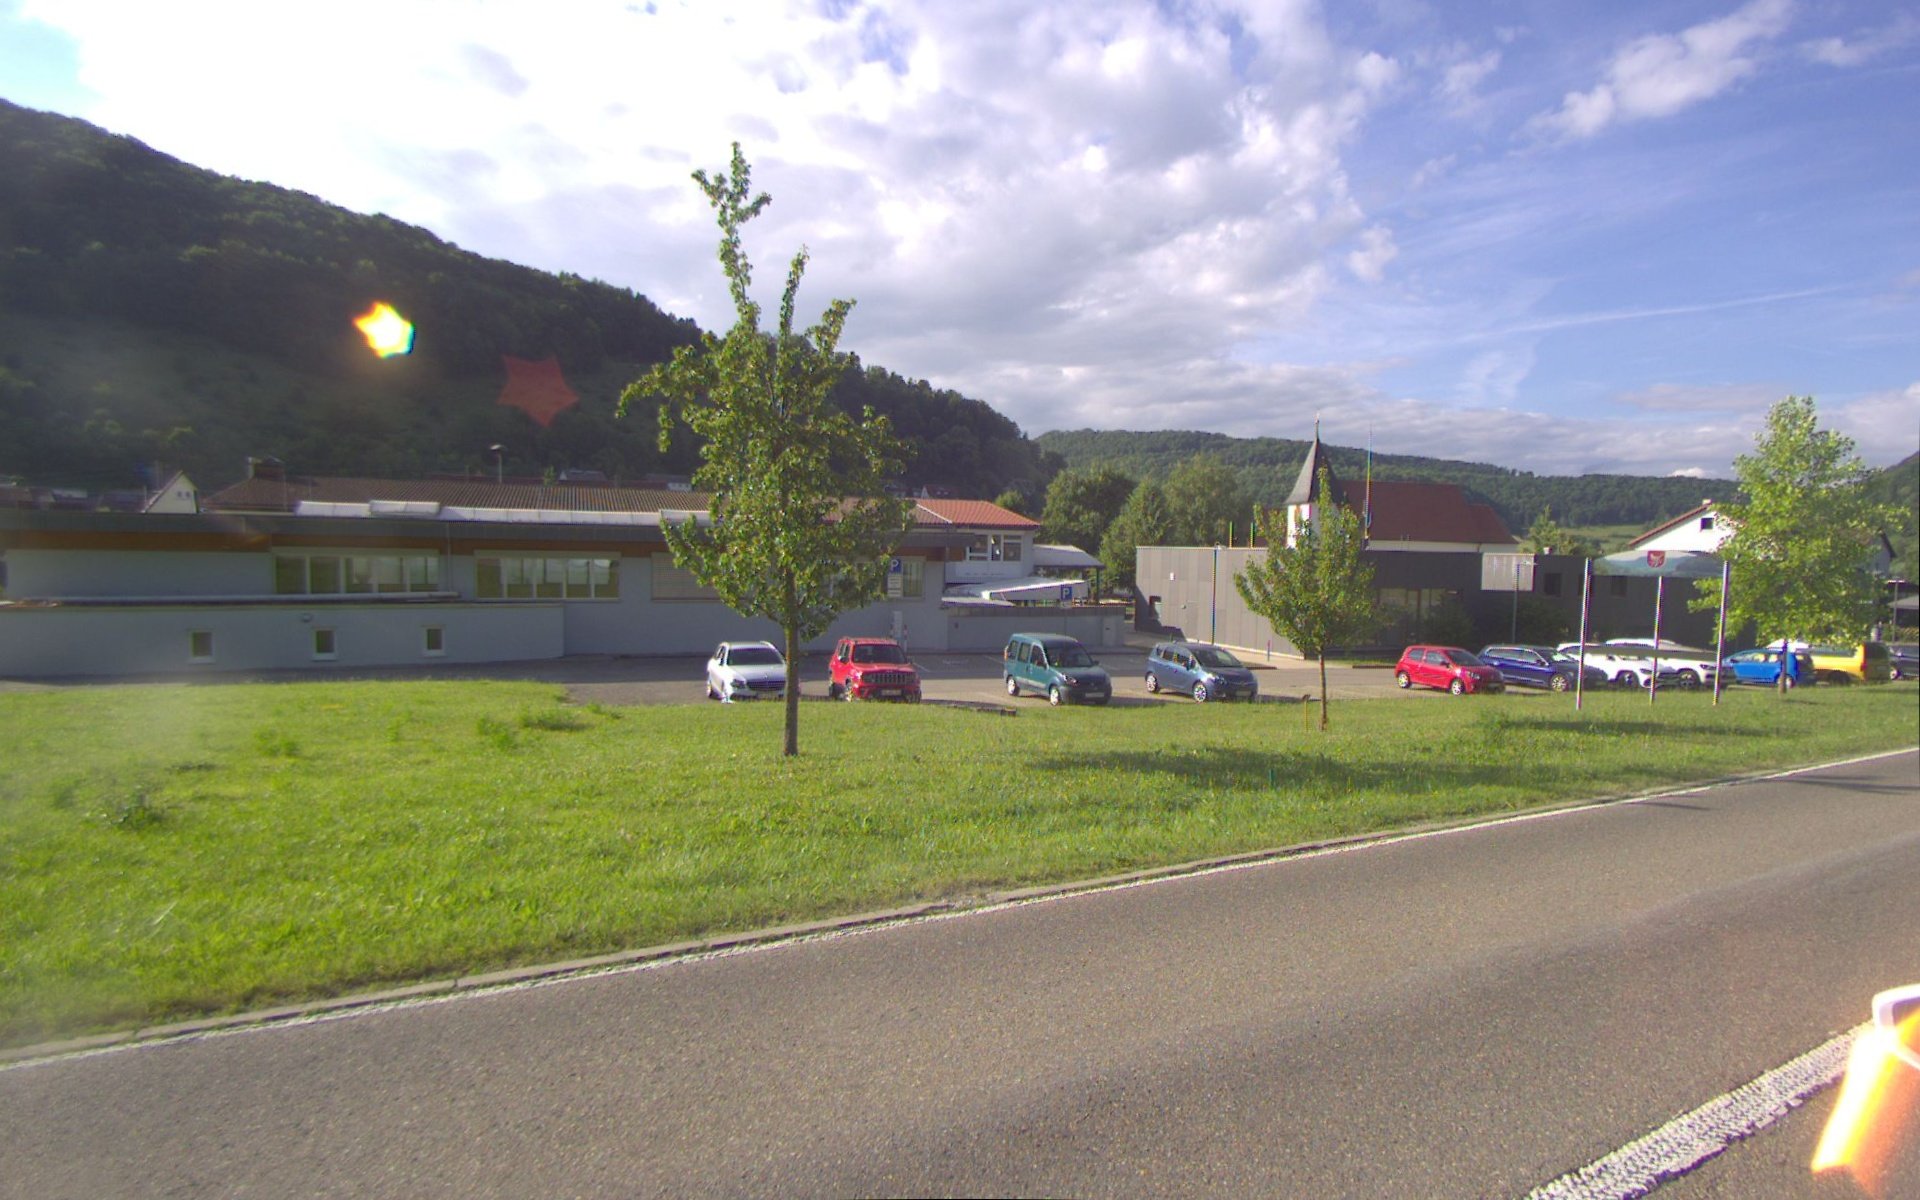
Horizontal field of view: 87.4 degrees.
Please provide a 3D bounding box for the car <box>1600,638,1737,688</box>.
[{"bbox_3d":[26.658,2.334,37.955,1.572,1.695,4.072,1,-1,-20],"label":"car"}]

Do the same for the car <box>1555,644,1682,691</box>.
[{"bbox_3d":[23.810,2.414,36.448,1.572,1.513,3.661,1,-1,-20],"label":"car"}]

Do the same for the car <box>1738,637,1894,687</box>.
[{"bbox_3d":[34.733,2.481,40.930,1.813,1.839,4.547,1,-1,-20],"label":"car"}]

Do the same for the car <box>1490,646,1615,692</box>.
[{"bbox_3d":[20.782,2.402,35.385,1.572,1.423,3.620,2,-1,-20],"label":"car"}]

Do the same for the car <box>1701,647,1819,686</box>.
[{"bbox_3d":[32.102,2.634,40.385,1.639,1.392,3.356,1,-2,-27],"label":"car"}]

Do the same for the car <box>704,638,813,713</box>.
[{"bbox_3d":[-5.252,1.835,25.653,1.970,1.610,4.633,1,-1,-21],"label":"car"}]

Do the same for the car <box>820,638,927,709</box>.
[{"bbox_3d":[-2.318,1.847,26.039,1.730,1.600,3.913,1,-1,-21],"label":"car"}]

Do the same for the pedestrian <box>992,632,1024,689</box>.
[{"bbox_3d":[1.505,1.881,31.493,0.695,1.716,0.793,2,1,-22],"label":"pedestrian"}]

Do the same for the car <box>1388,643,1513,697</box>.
[{"bbox_3d":[16.244,2.277,33.453,1.623,1.463,3.619,0,1,-20],"label":"car"}]

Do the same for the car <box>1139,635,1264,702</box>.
[{"bbox_3d":[7.028,1.965,29.616,1.706,1.744,3.812,1,-1,-21],"label":"car"}]

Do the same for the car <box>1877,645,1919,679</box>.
[{"bbox_3d":[43.589,2.810,44.839,1.486,1.458,3.708,1,-1,-20],"label":"car"}]

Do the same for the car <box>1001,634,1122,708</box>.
[{"bbox_3d":[2.757,1.918,28.113,1.731,1.745,3.852,2,0,-23],"label":"car"}]
